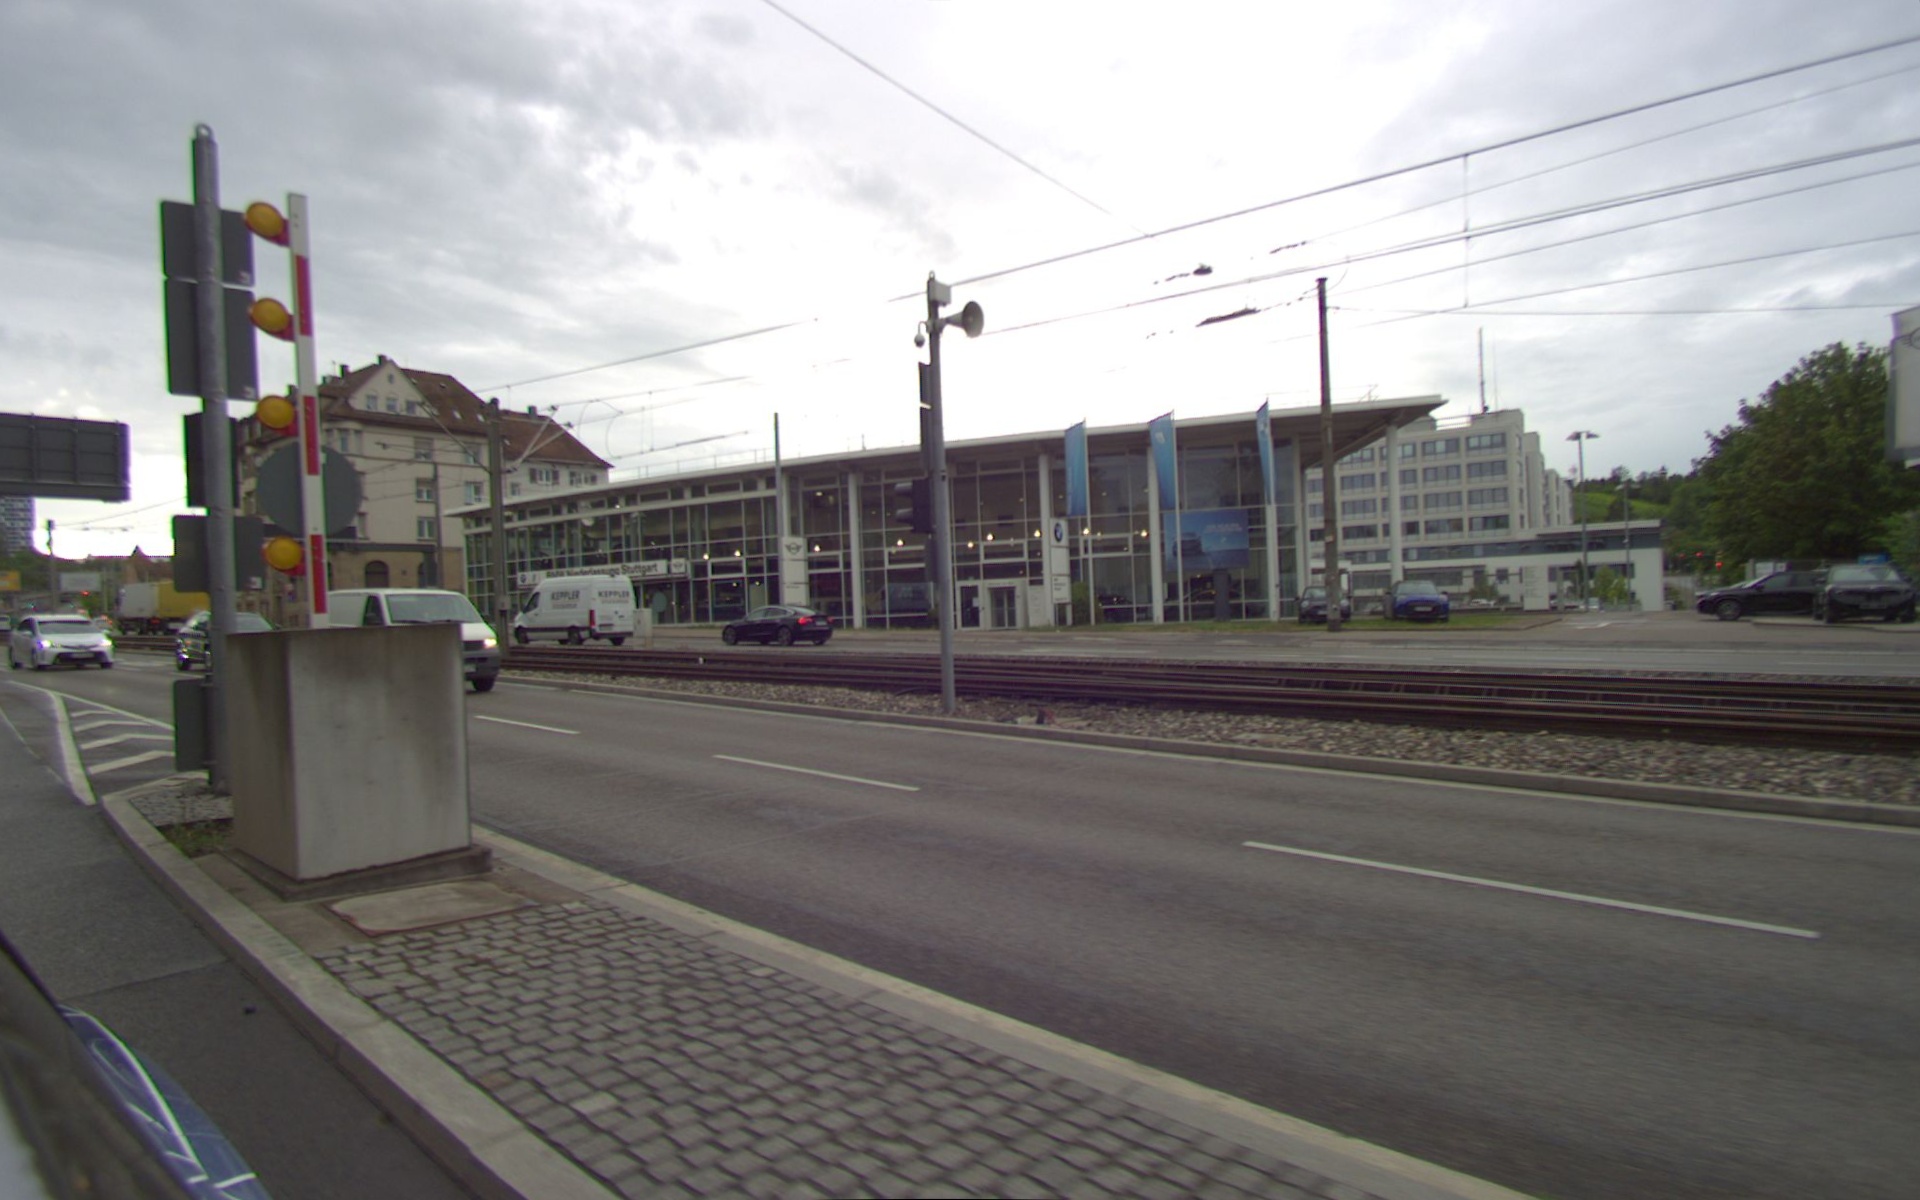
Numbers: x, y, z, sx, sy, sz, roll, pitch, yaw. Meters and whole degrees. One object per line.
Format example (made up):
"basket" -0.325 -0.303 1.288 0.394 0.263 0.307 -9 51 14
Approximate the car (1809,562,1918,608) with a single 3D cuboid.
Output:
"car" 33.151 -0.535 37.212 2.795 1.585 1.370 -2 0 36

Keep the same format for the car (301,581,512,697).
"car" -10.686 0.710 19.395 4.712 1.973 1.891 -2 -1 39

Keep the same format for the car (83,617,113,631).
"car" -91.944 2.525 107.931 3.846 1.415 1.664 -2 -1 38

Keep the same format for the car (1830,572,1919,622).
"car" 25.074 -0.108 27.806 1.716 1.284 3.479 -1 0 42

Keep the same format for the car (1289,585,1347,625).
"car" 12.662 0.136 35.999 1.688 1.244 3.978 -4 0 17

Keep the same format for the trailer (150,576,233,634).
"trailer" -57.420 0.452 75.519 9.069 4.082 2.658 -1 -1 38

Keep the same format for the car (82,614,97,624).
"car" -152.540 3.333 177.365 1.808 1.811 4.224 1 -2 -38

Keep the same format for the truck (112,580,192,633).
"truck" -65.055 0.571 81.360 10.126 4.082 2.658 -1 -1 38

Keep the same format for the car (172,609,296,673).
"car" -19.459 1.067 27.083 3.891 1.585 1.688 -2 -1 38

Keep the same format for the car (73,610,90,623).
"car" -173.826 3.181 200.255 2.302 2.486 7.039 0 -1 -39

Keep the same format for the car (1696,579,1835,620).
"car" 26.318 -0.012 33.191 3.422 1.253 1.572 -1 0 35

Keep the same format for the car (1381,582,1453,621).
"car" 15.691 0.044 34.921 1.746 1.244 3.978 -1 0 17

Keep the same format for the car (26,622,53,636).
"car" -101.902 3.180 112.015 4.326 1.444 1.591 -2 0 38

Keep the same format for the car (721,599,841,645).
"car" -6.365 0.776 35.715 4.333 1.527 1.725 -1 -1 38

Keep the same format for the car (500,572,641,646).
"car" -14.847 0.358 38.404 6.155 2.618 2.032 -1 0 37

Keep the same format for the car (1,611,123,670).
"car" -26.505 1.173 29.828 4.313 1.585 1.958 -2 -1 38
